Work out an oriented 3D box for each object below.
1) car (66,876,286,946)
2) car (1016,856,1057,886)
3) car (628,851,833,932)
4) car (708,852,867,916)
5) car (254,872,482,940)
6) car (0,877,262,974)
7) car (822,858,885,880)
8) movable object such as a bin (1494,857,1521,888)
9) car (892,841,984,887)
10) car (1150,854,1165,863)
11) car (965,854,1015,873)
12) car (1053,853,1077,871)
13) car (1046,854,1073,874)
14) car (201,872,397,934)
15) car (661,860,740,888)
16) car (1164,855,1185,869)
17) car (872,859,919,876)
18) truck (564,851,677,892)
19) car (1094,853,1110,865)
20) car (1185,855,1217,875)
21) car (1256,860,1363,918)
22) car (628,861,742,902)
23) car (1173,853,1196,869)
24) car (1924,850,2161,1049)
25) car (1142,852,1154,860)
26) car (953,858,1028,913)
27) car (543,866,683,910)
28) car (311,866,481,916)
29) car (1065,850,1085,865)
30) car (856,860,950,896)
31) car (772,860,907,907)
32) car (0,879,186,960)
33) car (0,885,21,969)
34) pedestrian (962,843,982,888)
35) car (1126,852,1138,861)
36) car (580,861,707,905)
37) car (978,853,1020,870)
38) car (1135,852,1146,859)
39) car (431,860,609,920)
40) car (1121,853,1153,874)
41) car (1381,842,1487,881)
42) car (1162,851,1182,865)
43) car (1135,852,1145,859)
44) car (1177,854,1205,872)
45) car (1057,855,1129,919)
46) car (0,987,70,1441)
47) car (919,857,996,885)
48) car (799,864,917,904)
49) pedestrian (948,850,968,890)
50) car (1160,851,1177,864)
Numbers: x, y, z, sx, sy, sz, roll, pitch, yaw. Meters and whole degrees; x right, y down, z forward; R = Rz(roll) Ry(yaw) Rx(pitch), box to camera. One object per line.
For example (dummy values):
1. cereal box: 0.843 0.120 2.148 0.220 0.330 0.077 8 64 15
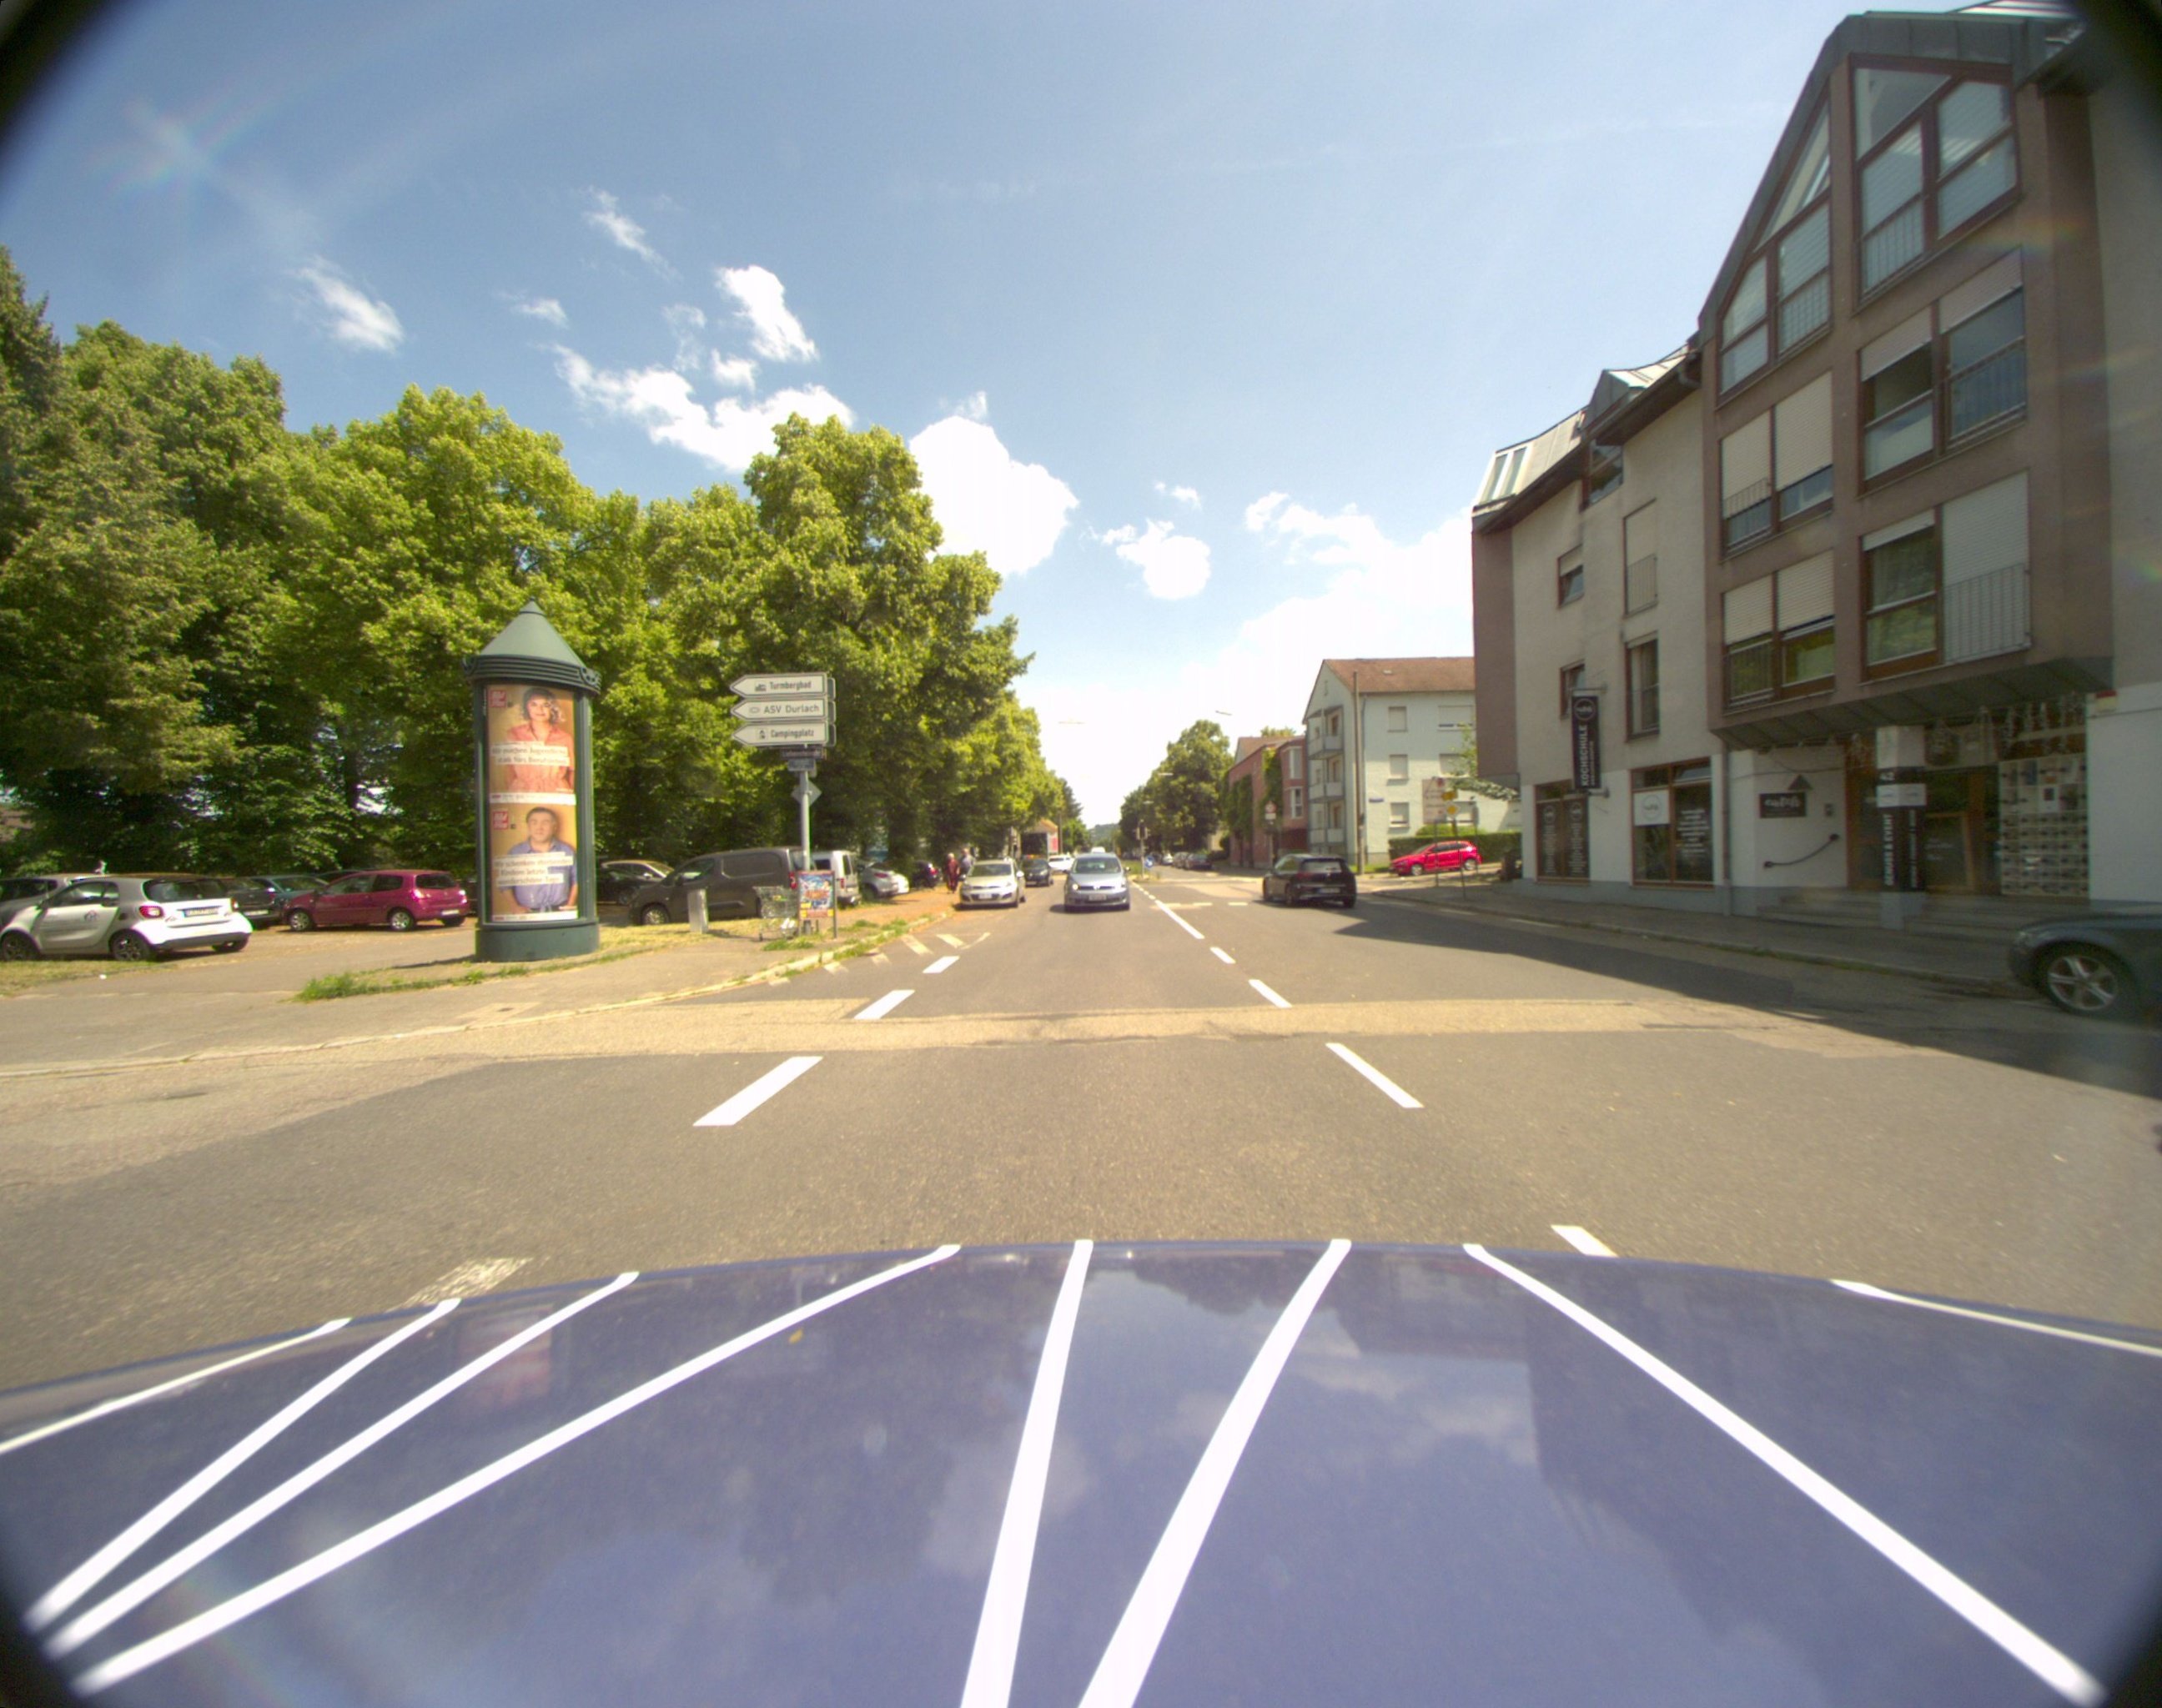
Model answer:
1. car: -21.979 1.356 18.550 3.389 1.545 1.591 -1 1 -1
2. car: -2.184 0.819 38.488 1.667 1.420 4.000 -2 0 2
3. car: -8.438 0.870 18.588 3.997 1.740 2.016 -2 1 1
4. car: -8.089 0.800 21.200 3.774 1.657 1.663 -1 0 -3
5. car: -17.578 1.250 18.867 3.997 1.519 1.680 -1 1 -1
6. car: -17.738 1.245 13.713 3.997 1.545 1.680 -1 1 -1
7. car: -17.097 1.107 57.201 4.265 1.578 1.818 0 0 -5
8. movable object such as a bin: 15.010 0.643 26.747 0.674 1.090 0.631 -1 1 -39
9. car: -7.991 0.541 42.752 4.613 2.263 2.106 -3 0 2
10. car: 11.381 0.626 112.910 1.757 1.325 3.608 -2 0 0
11. car: -7.198 0.742 60.375 3.848 1.350 1.629 -2 0 -7
12. car: -1.388 0.709 67.872 1.867 1.516 4.208 -2 0 2
13. car: -1.667 0.740 60.295 1.721 1.434 4.112 -3 0 3
14. car: -21.850 1.341 21.300 3.909 1.459 1.690 -3 0 5
15. car: -22.485 1.185 44.939 3.806 1.579 1.738 0 0 4
16. car: 10.240 0.863 83.507 1.752 1.433 4.000 -2 0 0
17. car: -16.462 1.155 67.586 3.808 1.456 1.737 0 0 -3
18. truck: -21.525 0.816 35.609 4.130 1.804 1.879 -1 0 3
19. car: 2.601 0.544 92.525 1.720 1.406 4.590 -1 0 4
20. car: 10.076 0.896 63.978 1.891 1.531 4.568 -1 0 0
21. car: 6.310 0.918 21.453 1.747 1.411 4.222 0 0 0
22. car: -17.029 1.164 32.789 3.996 1.652 1.805 0 1 3
23. car: 10.372 0.658 76.532 1.752 1.499 4.000 -2 0 0
24. car: 9.328 0.758 5.107 1.844 1.439 4.969 -4 0 2
25. car: 11.760 0.346 134.488 1.757 1.325 3.608 -2 0 0
26. car: -2.731 0.906 23.822 1.771 1.476 3.891 -2 0 1
27. car: -16.889 1.216 27.576 3.997 1.475 1.680 -1 1 -1
28. car: -21.742 1.162 24.216 3.807 1.451 1.738 -1 0 0
29. car: -0.588 0.313 75.462 1.775 1.434 3.338 -2 0 2
30. car: -8.506 1.131 36.586 3.996 1.464 1.717 -3 1 3
31. car: -8.227 0.984 26.154 3.997 1.390 1.808 -2 0 0
32. car: -21.718 1.362 16.175 3.389 1.545 1.591 -1 1 -1
33. car: -21.545 1.380 13.512 3.070 1.545 1.591 -1 1 -1
34. pedestrian: -4.339 0.467 30.413 0.618 1.754 0.737 -2 1 1
35. car: 9.397 0.494 139.795 1.752 1.499 4.000 -2 0 0
36. car: -17.328 1.122 30.219 3.997 1.631 1.680 -1 1 -1
37. car: -7.765 0.706 72.348 3.762 1.518 1.853 -1 0 -2
38. car: 11.818 0.233 151.283 1.757 1.325 3.608 -2 0 0
39. car: -16.713 1.045 22.780 3.998 1.669 1.701 -1 1 -2
40. car: 4.269 0.742 58.911 1.868 1.516 4.290 -2 0 -3
41. car: 16.280 0.359 35.156 3.997 1.443 1.733 -5 -1 0
42. car: 10.769 0.476 89.973 1.752 1.499 4.000 -2 0 0
43. car: 12.137 0.341 156.329 1.757 1.325 3.608 -2 0 0
44. car: 10.173 0.800 70.412 1.891 1.531 4.568 -1 0 0
45. car: 0.356 0.830 20.891 1.747 1.513 4.223 -1 0 1
46. car: -5.609 1.188 1.448 4.593 1.357 2.000 -2 0 -1
47. car: -7.523 1.030 46.605 4.336 1.485 1.809 -3 0 0
48. car: -8.495 1.143 29.119 3.996 1.420 1.669 -1 0 2
49. pedestrian: -4.919 0.633 30.418 0.618 1.584 0.737 -2 1 1
50. car: 10.935 0.456 95.138 1.572 1.499 4.000 -2 0 0
